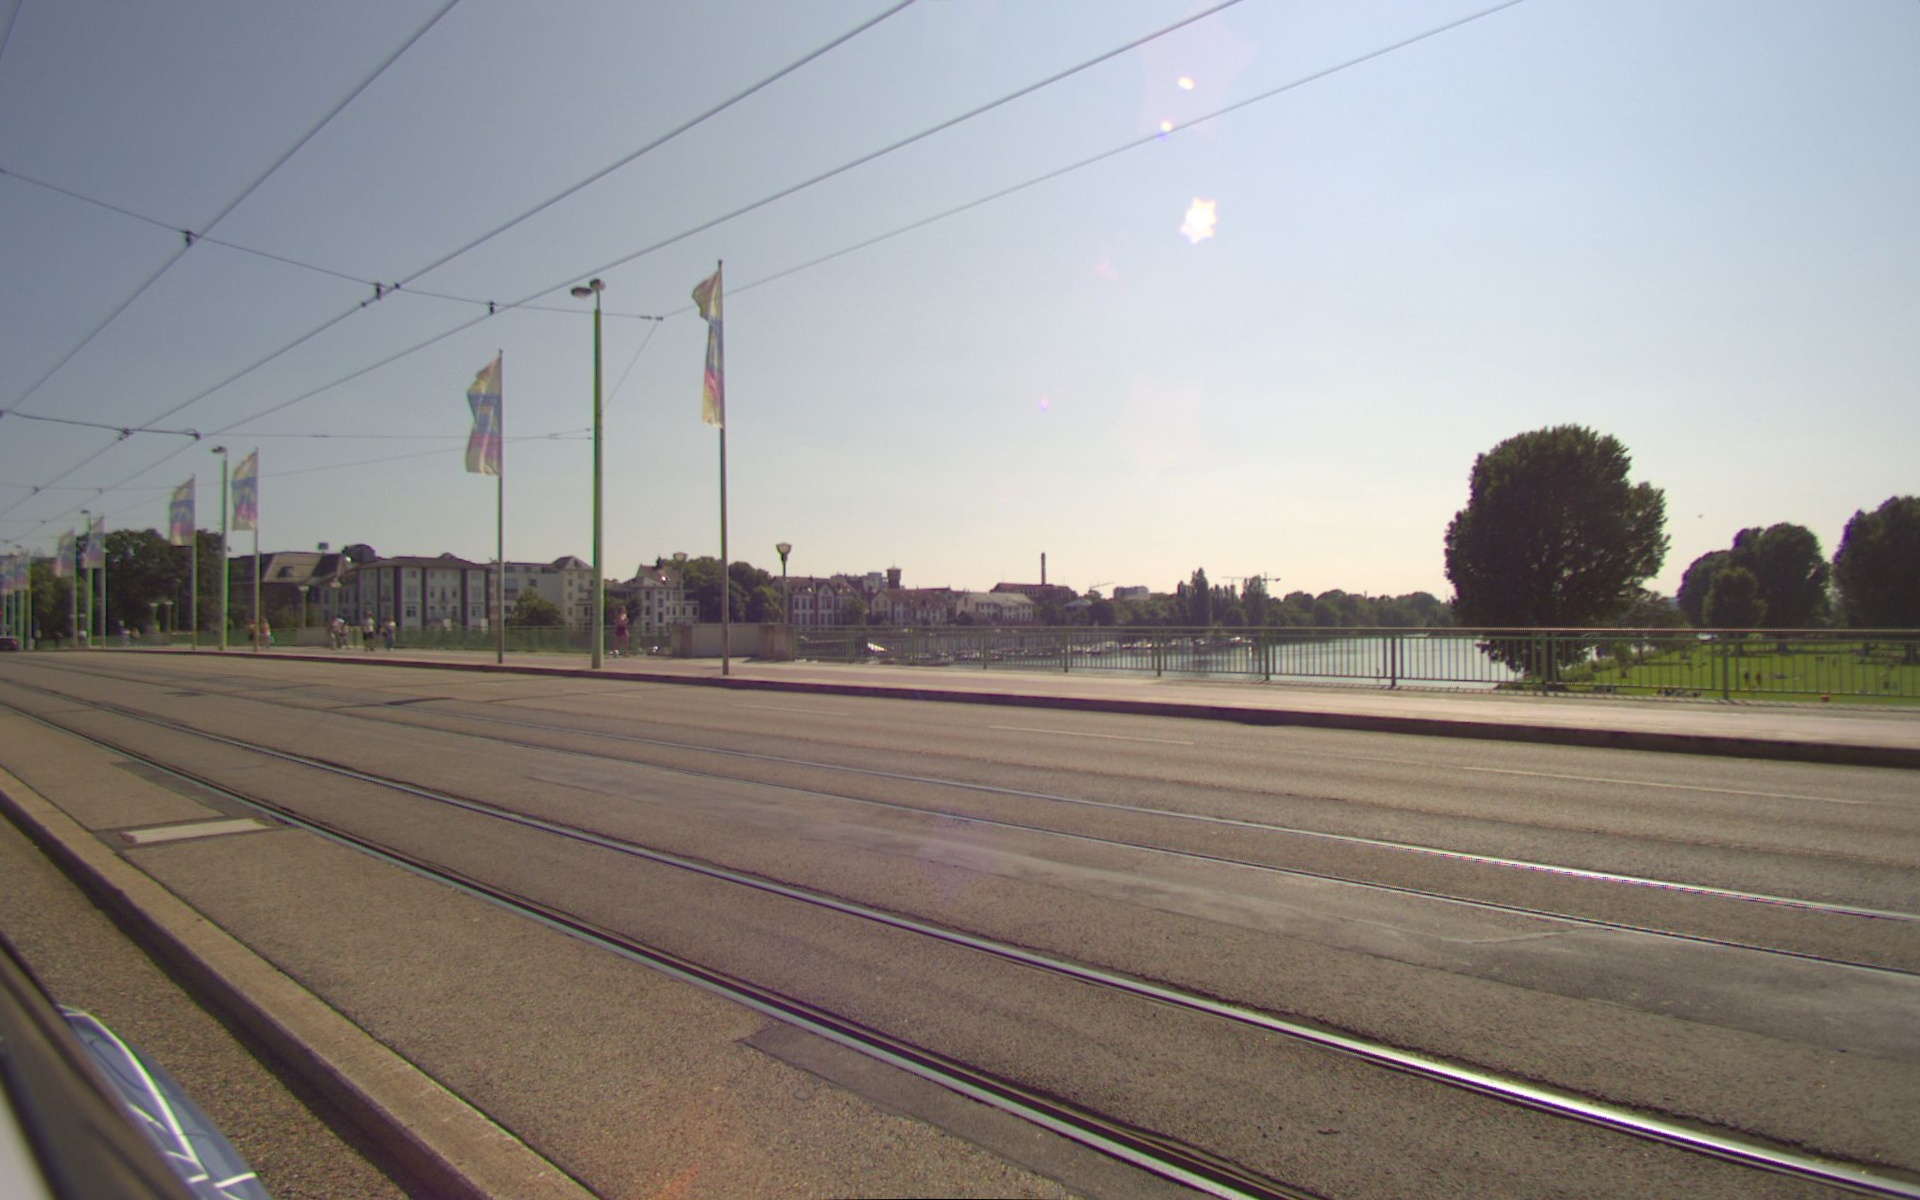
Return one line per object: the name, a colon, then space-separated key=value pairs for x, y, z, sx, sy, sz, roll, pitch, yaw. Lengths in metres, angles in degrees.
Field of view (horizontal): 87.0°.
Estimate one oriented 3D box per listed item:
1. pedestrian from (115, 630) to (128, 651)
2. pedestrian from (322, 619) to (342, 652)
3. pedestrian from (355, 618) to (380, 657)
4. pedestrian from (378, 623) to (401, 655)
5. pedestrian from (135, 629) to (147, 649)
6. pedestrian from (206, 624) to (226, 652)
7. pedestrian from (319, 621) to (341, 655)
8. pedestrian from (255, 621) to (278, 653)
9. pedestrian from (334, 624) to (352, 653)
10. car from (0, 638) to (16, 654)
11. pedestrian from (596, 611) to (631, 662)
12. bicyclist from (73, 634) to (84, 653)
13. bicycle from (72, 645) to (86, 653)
pedestrian: x=-71.206 y=3.468 z=85.984 sx=1.022 sy=1.712 sz=0.584 roll=-2 pitch=3 yaw=41
pedestrian: x=-33.110 y=1.875 z=53.337 sx=1.022 sy=1.712 sz=0.584 roll=-2 pitch=0 yaw=41
pedestrian: x=-27.142 y=1.718 z=46.357 sx=1.022 sy=1.712 sz=0.663 roll=-2 pitch=0 yaw=41
pedestrian: x=-26.331 y=1.800 z=46.727 sx=1.022 sy=1.425 sz=0.584 roll=-2 pitch=0 yaw=41
pedestrian: x=-69.950 y=3.322 z=86.436 sx=0.904 sy=1.712 sz=0.584 roll=-2 pitch=3 yaw=41
pedestrian: x=-47.710 y=2.413 z=64.878 sx=1.022 sy=1.712 sz=0.777 roll=-2 pitch=1 yaw=41
pedestrian: x=-31.272 y=1.884 z=50.236 sx=1.022 sy=1.611 sz=0.620 roll=-2 pitch=0 yaw=41
pedestrian: x=-38.854 y=2.064 z=56.669 sx=1.022 sy=1.712 sz=0.777 roll=-2 pitch=1 yaw=41
pedestrian: x=-31.048 y=1.938 z=50.920 sx=0.788 sy=1.448 sz=0.540 roll=-2 pitch=0 yaw=41
car: x=-89.953 y=4.310 z=94.832 sx=3.899 sy=1.465 sz=1.698 roll=-2 pitch=-2 yaw=41
pedestrian: x=-11.853 y=1.251 z=34.640 sx=1.022 sy=1.703 sz=0.677 roll=-2 pitch=0 yaw=41
bicyclist: x=-77.435 y=3.800 z=88.942 sx=0.621 sy=1.663 sz=0.657 roll=-2 pitch=-2 yaw=42
bicycle: x=-77.441 y=4.306 z=88.930 sx=2.171 sy=0.721 sz=0.658 roll=-2 pitch=-1 yaw=41
